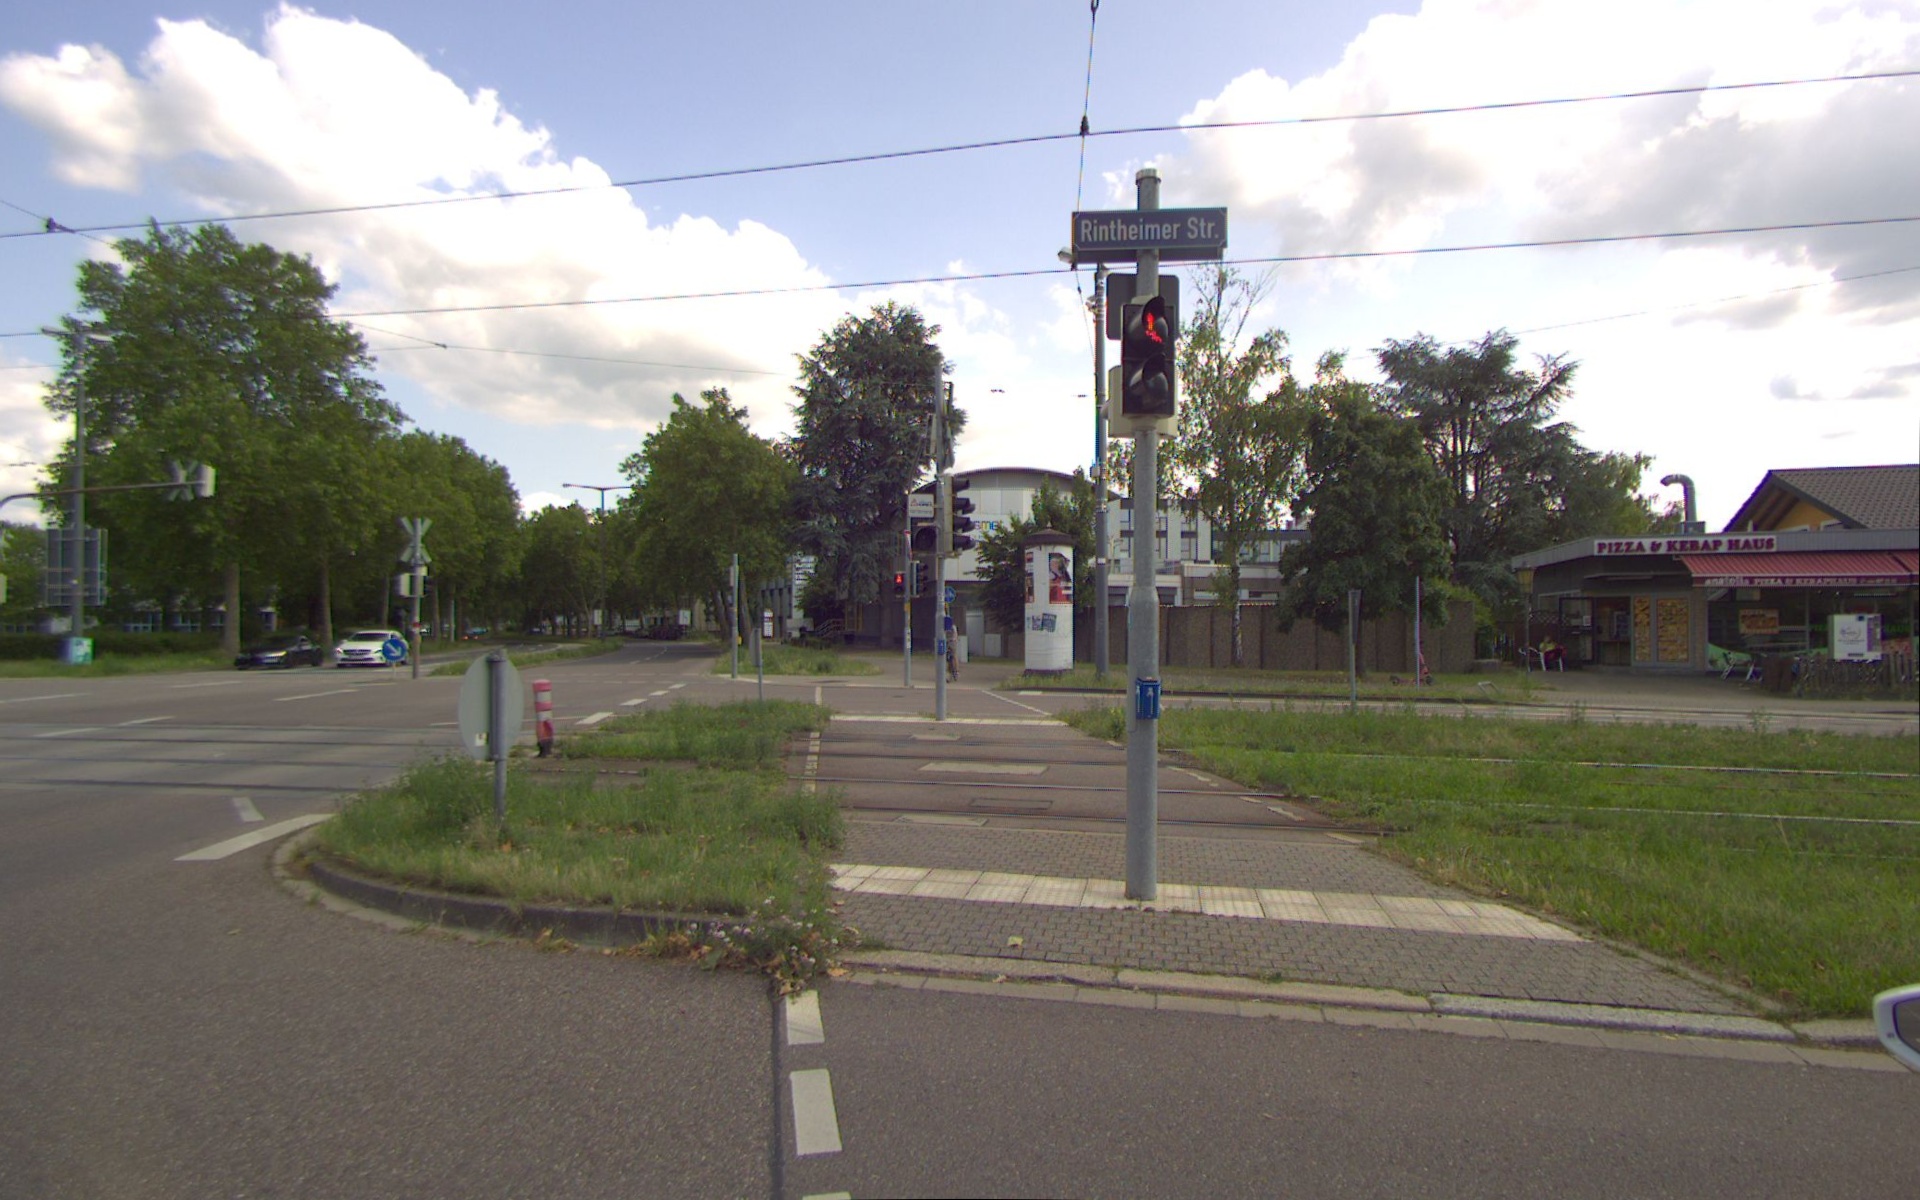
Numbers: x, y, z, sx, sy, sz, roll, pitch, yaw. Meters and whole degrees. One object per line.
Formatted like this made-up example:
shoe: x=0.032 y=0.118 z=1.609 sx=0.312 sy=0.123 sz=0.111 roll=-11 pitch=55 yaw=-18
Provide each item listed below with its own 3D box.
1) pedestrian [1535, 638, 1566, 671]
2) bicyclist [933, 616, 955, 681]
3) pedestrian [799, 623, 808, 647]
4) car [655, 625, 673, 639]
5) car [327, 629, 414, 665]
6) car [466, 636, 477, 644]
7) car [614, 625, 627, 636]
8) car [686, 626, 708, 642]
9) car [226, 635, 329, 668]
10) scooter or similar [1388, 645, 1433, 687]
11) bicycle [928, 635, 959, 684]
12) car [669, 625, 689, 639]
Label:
pedestrian: x=18.357 y=1.687 z=31.235 sx=0.713 sy=0.941 sz=0.776 roll=1 pitch=1 yaw=22
bicyclist: x=-0.444 y=1.373 z=28.773 sx=0.530 sy=1.834 sz=0.545 roll=0 pitch=1 yaw=9
pedestrian: x=-10.320 y=2.299 z=66.232 sx=0.611 sy=1.590 sz=0.558 roll=0 pitch=1 yaw=-11
car: x=-39.229 y=4.206 z=133.062 sx=1.971 sy=1.595 sz=3.979 roll=0 pitch=1 yaw=-22
car: x=-23.507 y=1.845 z=40.215 sx=1.799 sy=1.382 sz=4.128 roll=1 pitch=-2 yaw=-12
car: x=-79.500 y=6.484 z=163.485 sx=1.618 sy=1.207 sz=3.686 roll=1 pitch=-2 yaw=-25
car: x=-57.040 y=5.079 z=168.707 sx=1.971 sy=1.595 sz=3.979 roll=0 pitch=1 yaw=-22
car: x=-30.161 y=3.889 z=115.144 sx=1.971 sy=1.595 sz=3.979 roll=0 pitch=1 yaw=-22
car: x=-26.393 y=1.980 z=39.001 sx=1.608 sy=1.207 sz=3.707 roll=0 pitch=-2 yaw=-4
scooter or similar: x=12.317 y=1.787 z=27.460 sx=1.085 sy=1.073 sz=0.401 roll=1 pitch=1 yaw=32
bicycle: x=-0.460 y=1.677 z=28.726 sx=0.530 sy=1.252 sz=1.953 roll=0 pitch=1 yaw=9
car: x=-35.192 y=3.985 z=125.700 sx=1.971 sy=1.595 sz=3.979 roll=0 pitch=1 yaw=-22
